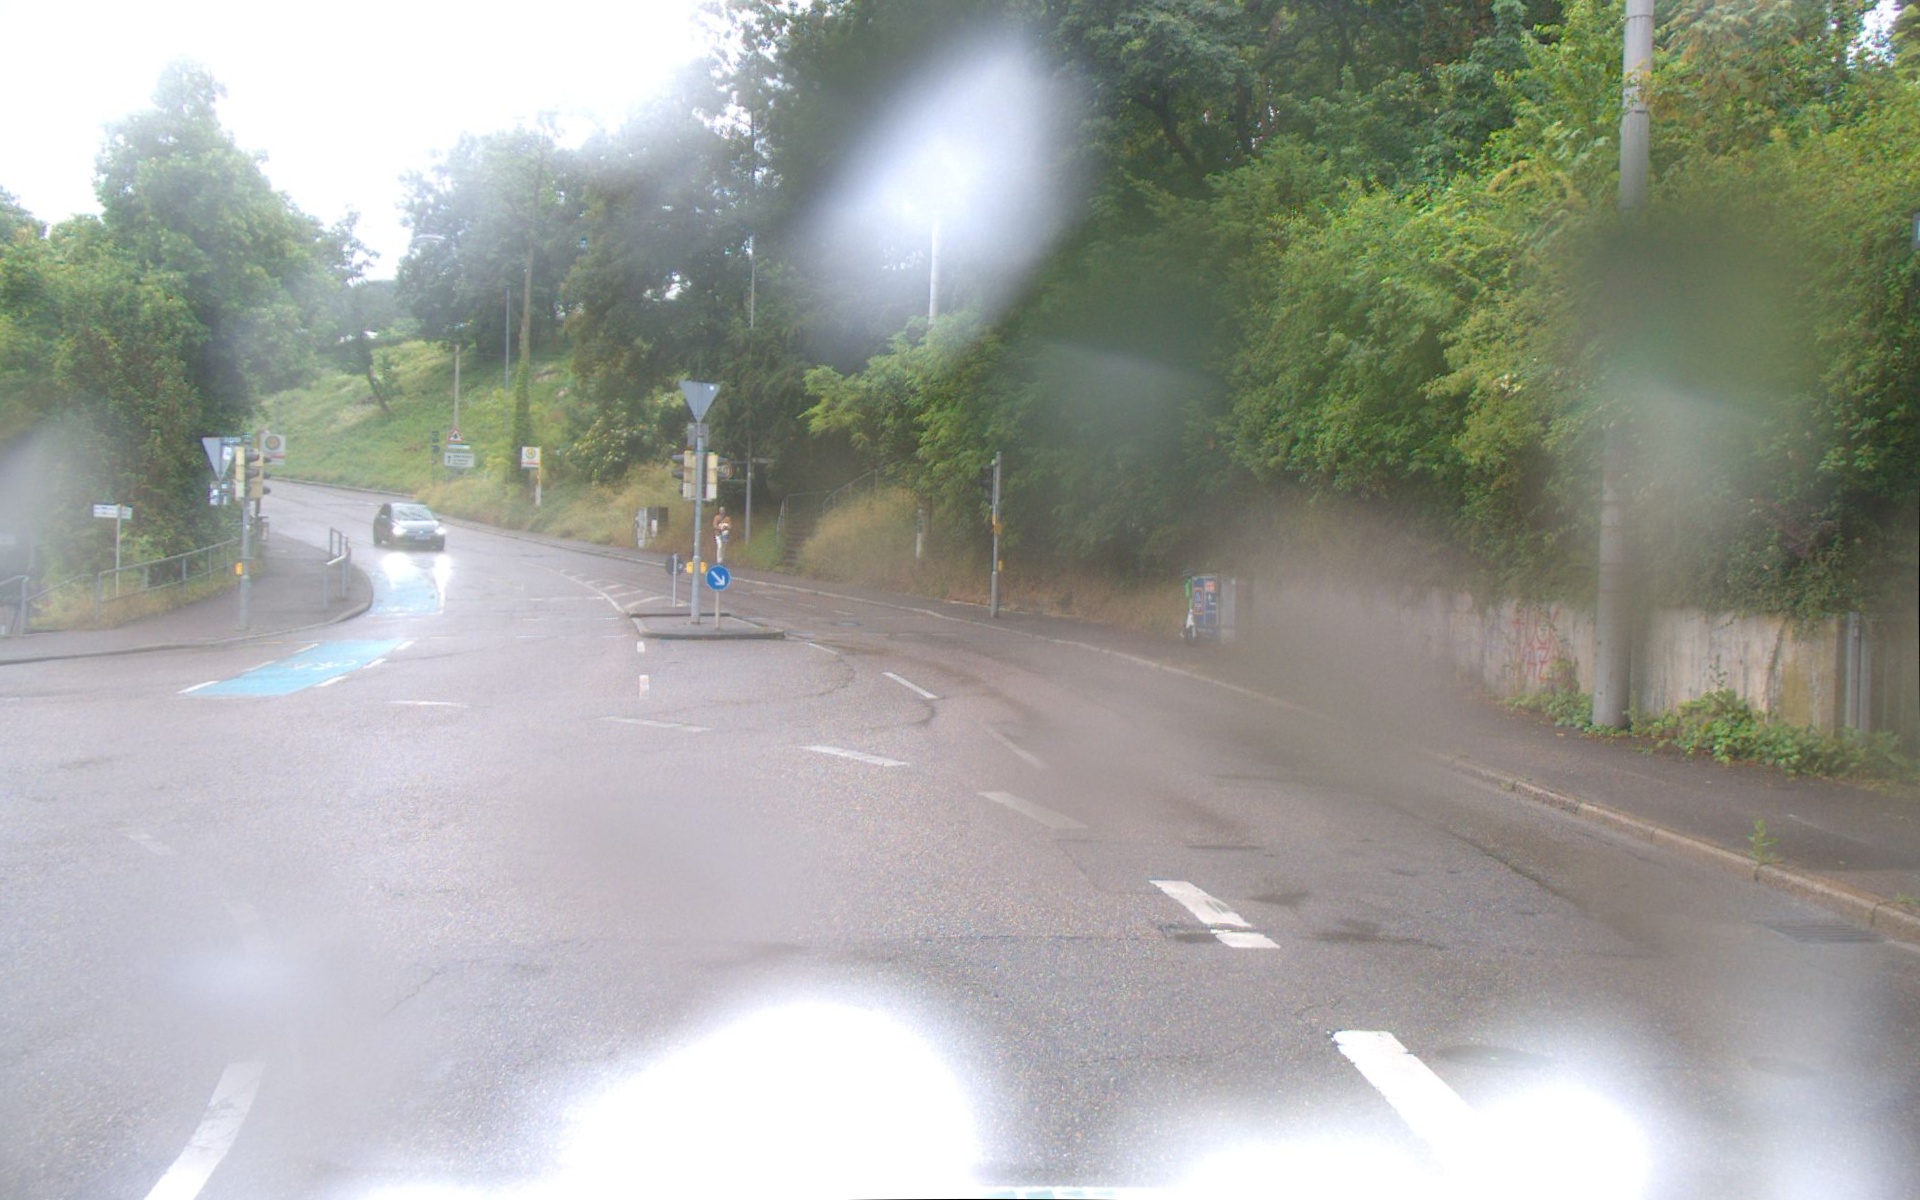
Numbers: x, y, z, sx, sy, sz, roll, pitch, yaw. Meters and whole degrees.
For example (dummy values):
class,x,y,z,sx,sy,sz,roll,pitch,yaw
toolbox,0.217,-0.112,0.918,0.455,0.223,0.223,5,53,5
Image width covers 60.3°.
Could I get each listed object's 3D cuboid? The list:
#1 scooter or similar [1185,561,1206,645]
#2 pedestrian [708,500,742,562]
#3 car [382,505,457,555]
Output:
class,x,y,z,sx,sy,sz,roll,pitch,yaw
scooter or similar,3.778,0.036,26.526,0.315,1.302,0.752,0,3,7
pedestrian,-7.029,-2.052,49.418,0.867,1.767,0.861,1,-1,-18
car,-18.440,-2.409,56.301,1.931,1.538,4.371,1,3,-25
